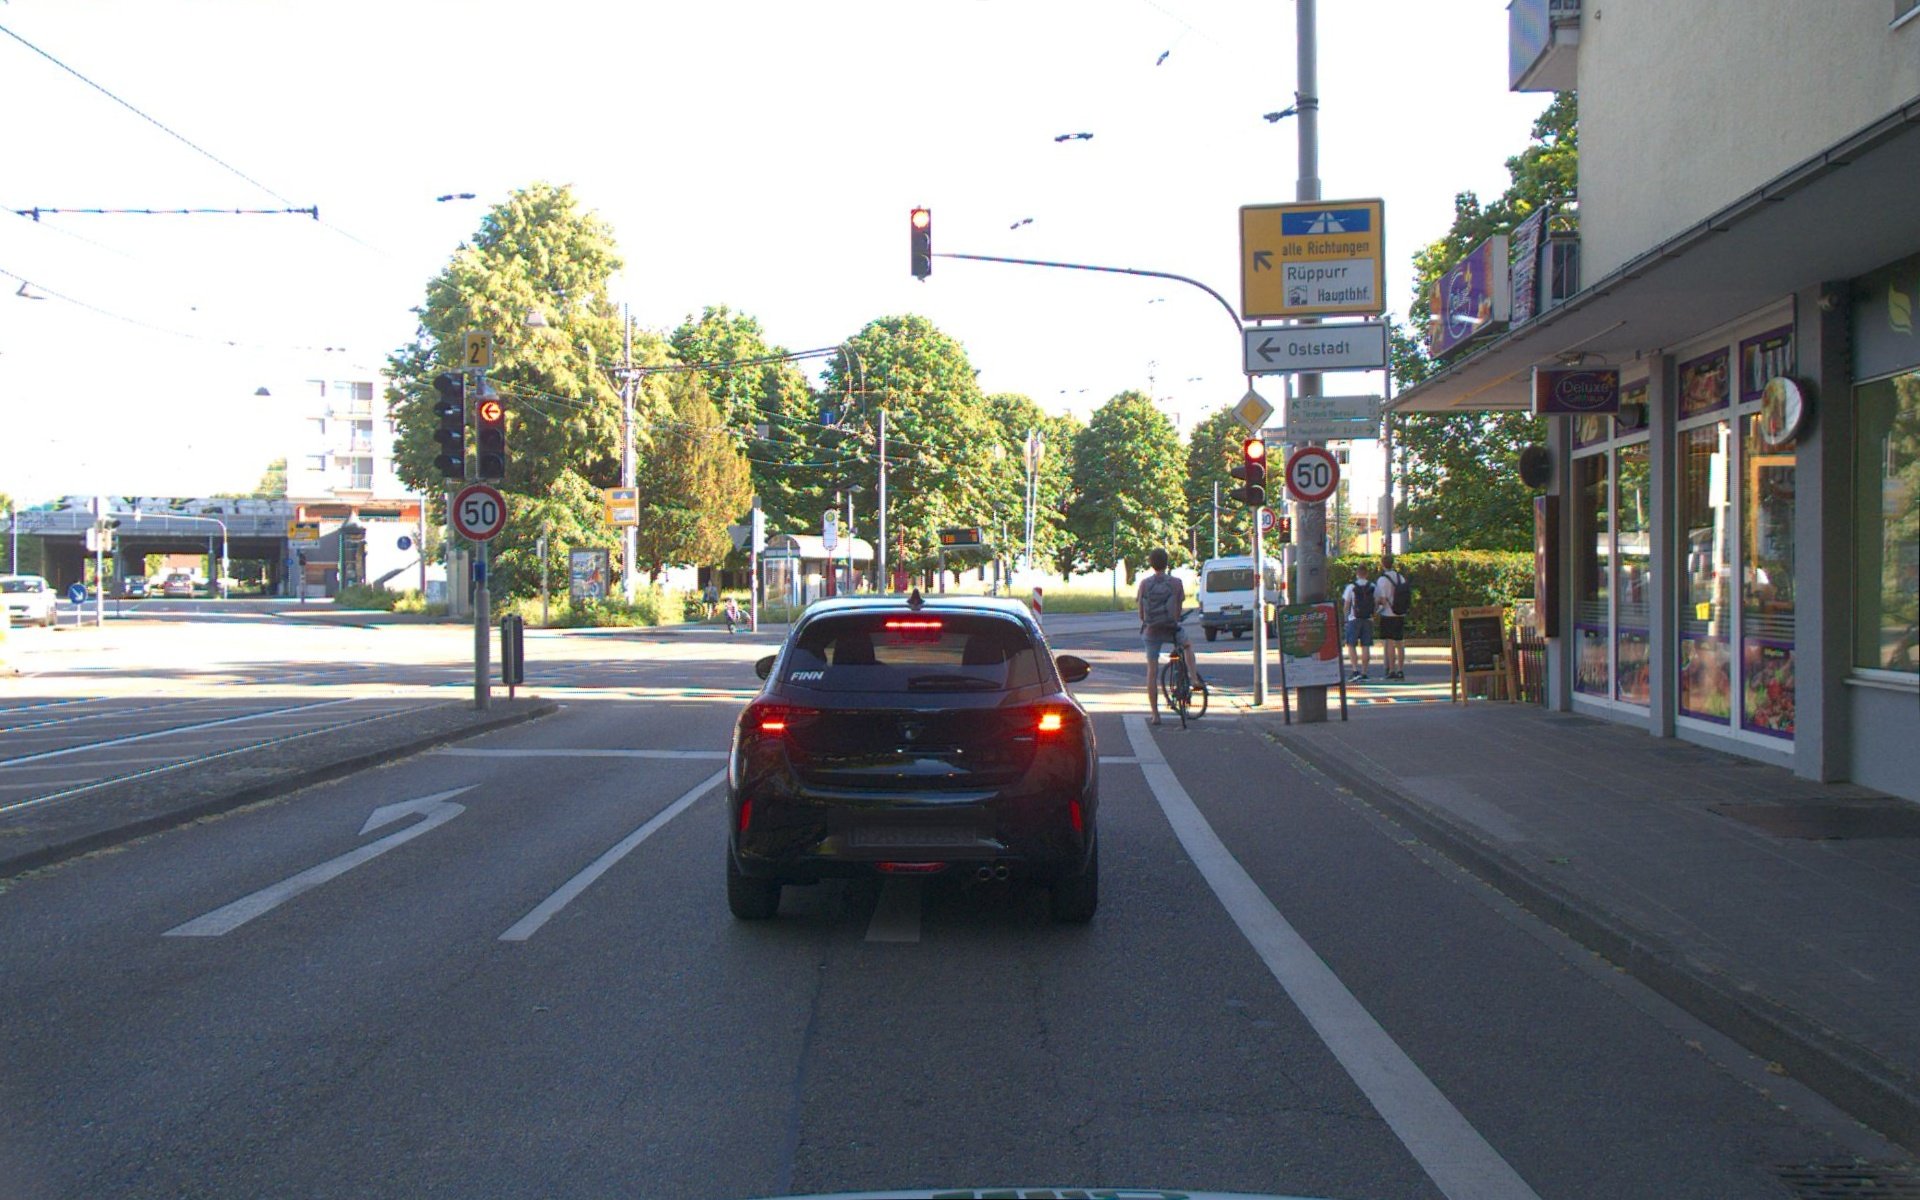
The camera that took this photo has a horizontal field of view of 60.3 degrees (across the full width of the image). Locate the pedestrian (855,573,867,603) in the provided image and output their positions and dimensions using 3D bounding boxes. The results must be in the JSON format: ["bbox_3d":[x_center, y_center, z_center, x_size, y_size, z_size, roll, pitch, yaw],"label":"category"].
[{"bbox_3d":[-6.505,-0.791,108.243,0.723,1.904,0.661,1,-1,-7],"label":"pedestrian"}]

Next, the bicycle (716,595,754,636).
[{"bbox_3d":[-6.264,0.426,46.173,0.780,1.083,2.184,0,1,-1],"label":"bicycle"}]

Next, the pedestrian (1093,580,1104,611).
[{"bbox_3d":[8.344,-0.269,99.496,0.591,1.904,0.520,1,-1,6],"label":"pedestrian"}]

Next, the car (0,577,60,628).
[{"bbox_3d":[-31.129,0.071,54.861,1.860,1.613,3.809,1,0,-24],"label":"car"}]

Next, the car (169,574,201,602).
[{"bbox_3d":[-54.467,-0.874,116.305,1.883,1.914,4.810,-1,1,-24],"label":"car"}]

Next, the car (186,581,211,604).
[{"bbox_3d":[-59.271,-0.569,128.819,1.732,1.713,3.712,1,0,-25],"label":"car"}]

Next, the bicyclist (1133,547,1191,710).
[{"bbox_3d":[2.177,0.302,17.798,0.522,1.722,0.568,0,0,16],"label":"bicyclist"}]

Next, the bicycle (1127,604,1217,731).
[{"bbox_3d":[2.319,0.690,17.911,0.737,1.256,2.017,0,1,14],"label":"bicycle"}]

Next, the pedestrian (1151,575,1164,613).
[{"bbox_3d":[10.115,-0.301,84.689,0.591,1.904,0.520,1,-1,17],"label":"pedestrian"}]

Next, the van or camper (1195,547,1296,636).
[{"bbox_3d":[8.069,-0.224,46.403,1.987,2.351,4.540,1,0,20],"label":"van or camper"}]

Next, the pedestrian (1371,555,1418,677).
[{"bbox_3d":[6.717,0.246,25.568,0.620,1.852,0.745,1,-1,19],"label":"pedestrian"}]

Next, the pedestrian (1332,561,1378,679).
[{"bbox_3d":[6.138,0.310,25.685,0.620,1.794,0.582,1,-1,19],"label":"pedestrian"}]

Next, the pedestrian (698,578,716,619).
[{"bbox_3d":[-9.289,-0.054,60.852,0.558,1.498,0.665,0,0,-1],"label":"pedestrian"}]

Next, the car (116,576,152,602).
[{"bbox_3d":[-54.212,-0.711,108.560,1.860,1.613,3.809,1,0,-24],"label":"car"}]

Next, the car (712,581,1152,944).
[{"bbox_3d":[-0.140,0.648,8.791,1.803,1.487,3.983,0,1,-1],"label":"car"}]
